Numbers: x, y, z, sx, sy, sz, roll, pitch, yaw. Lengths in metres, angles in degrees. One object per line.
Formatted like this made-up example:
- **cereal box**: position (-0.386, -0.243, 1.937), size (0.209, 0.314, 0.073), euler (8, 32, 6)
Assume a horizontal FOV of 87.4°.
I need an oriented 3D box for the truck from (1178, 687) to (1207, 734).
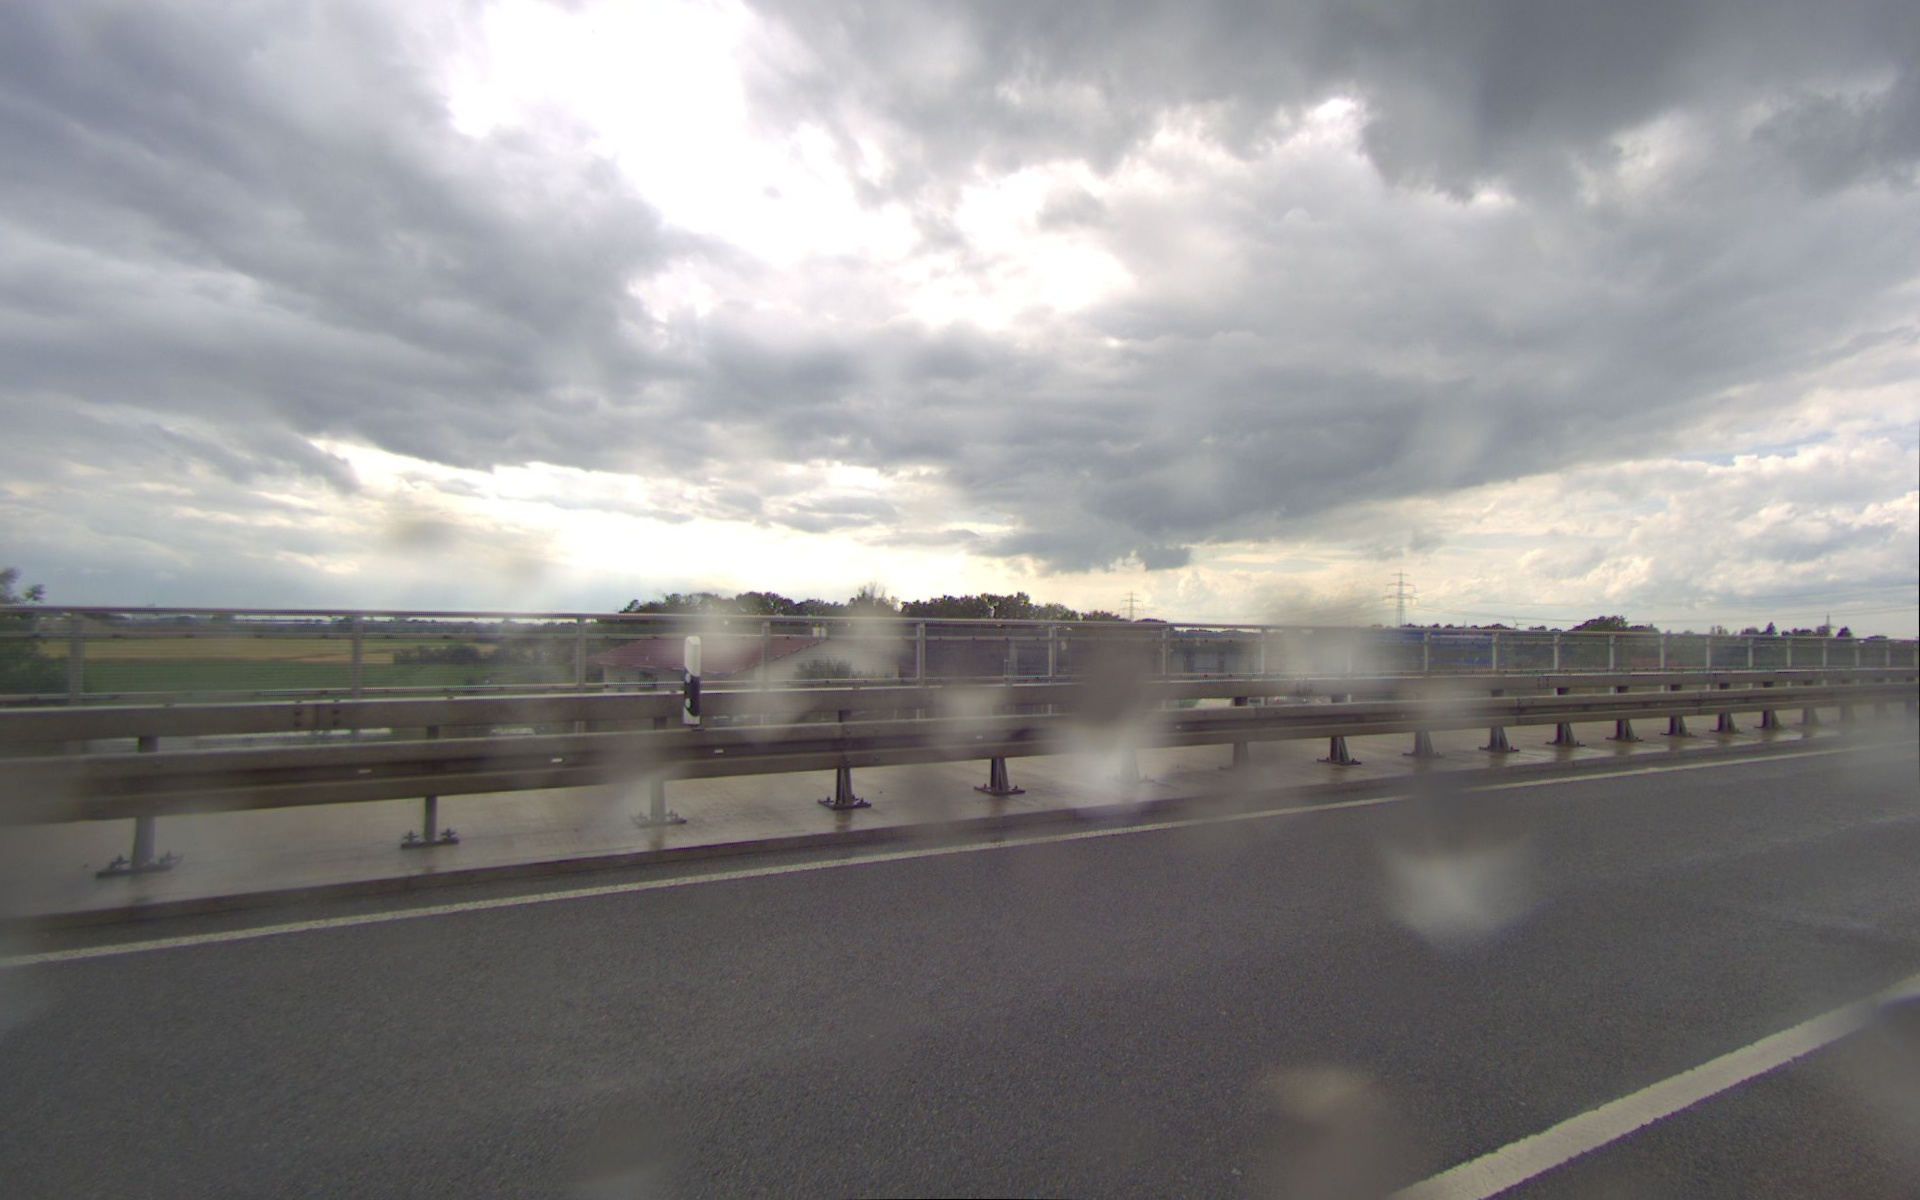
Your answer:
- **truck**: position (25.934, 12.135, 111.755), size (2.388, 4.054, 11.174), euler (2, 0, 16)
